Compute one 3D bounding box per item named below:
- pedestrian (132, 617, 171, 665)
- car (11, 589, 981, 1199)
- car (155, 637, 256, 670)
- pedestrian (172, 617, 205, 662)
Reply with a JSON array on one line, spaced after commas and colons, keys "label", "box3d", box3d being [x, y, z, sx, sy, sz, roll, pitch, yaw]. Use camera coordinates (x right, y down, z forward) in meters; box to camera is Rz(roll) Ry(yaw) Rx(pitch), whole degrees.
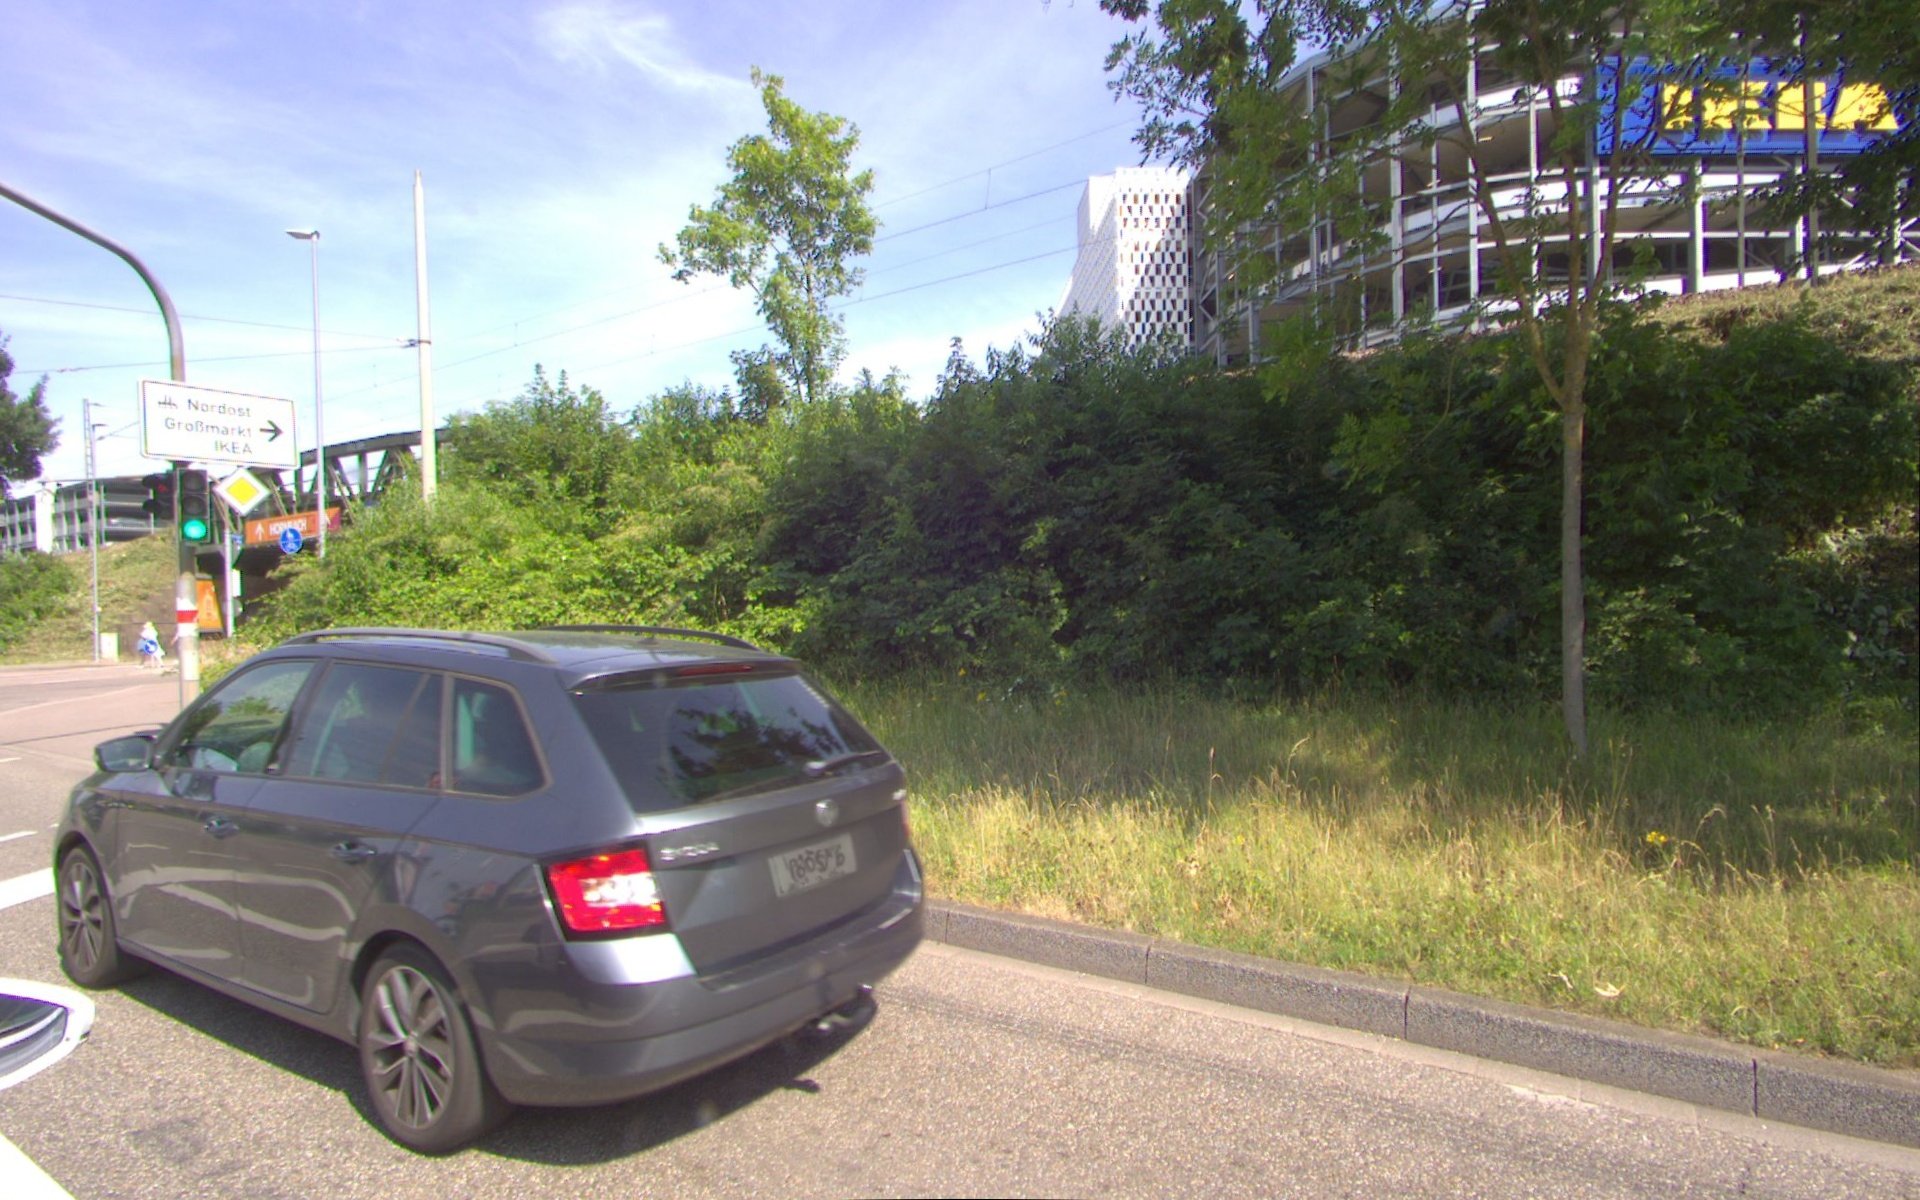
[{"label": "pedestrian", "box3d": [-28.343, 1.435, 35.108, 0.766, 1.633, 0.866, -1, 0, 32]}, {"label": "car", "box3d": [-2.038, 0.766, 4.035, 3.978, 1.472, 1.671, -1, -2, 32]}, {"label": "car", "box3d": [-36.553, 2.562, 48.667, 1.962, 1.427, 4.499, -1, -1, -8]}, {"label": "pedestrian", "box3d": [-27.749, 1.421, 36.018, 0.766, 1.600, 0.728, -1, 0, 32]}]
